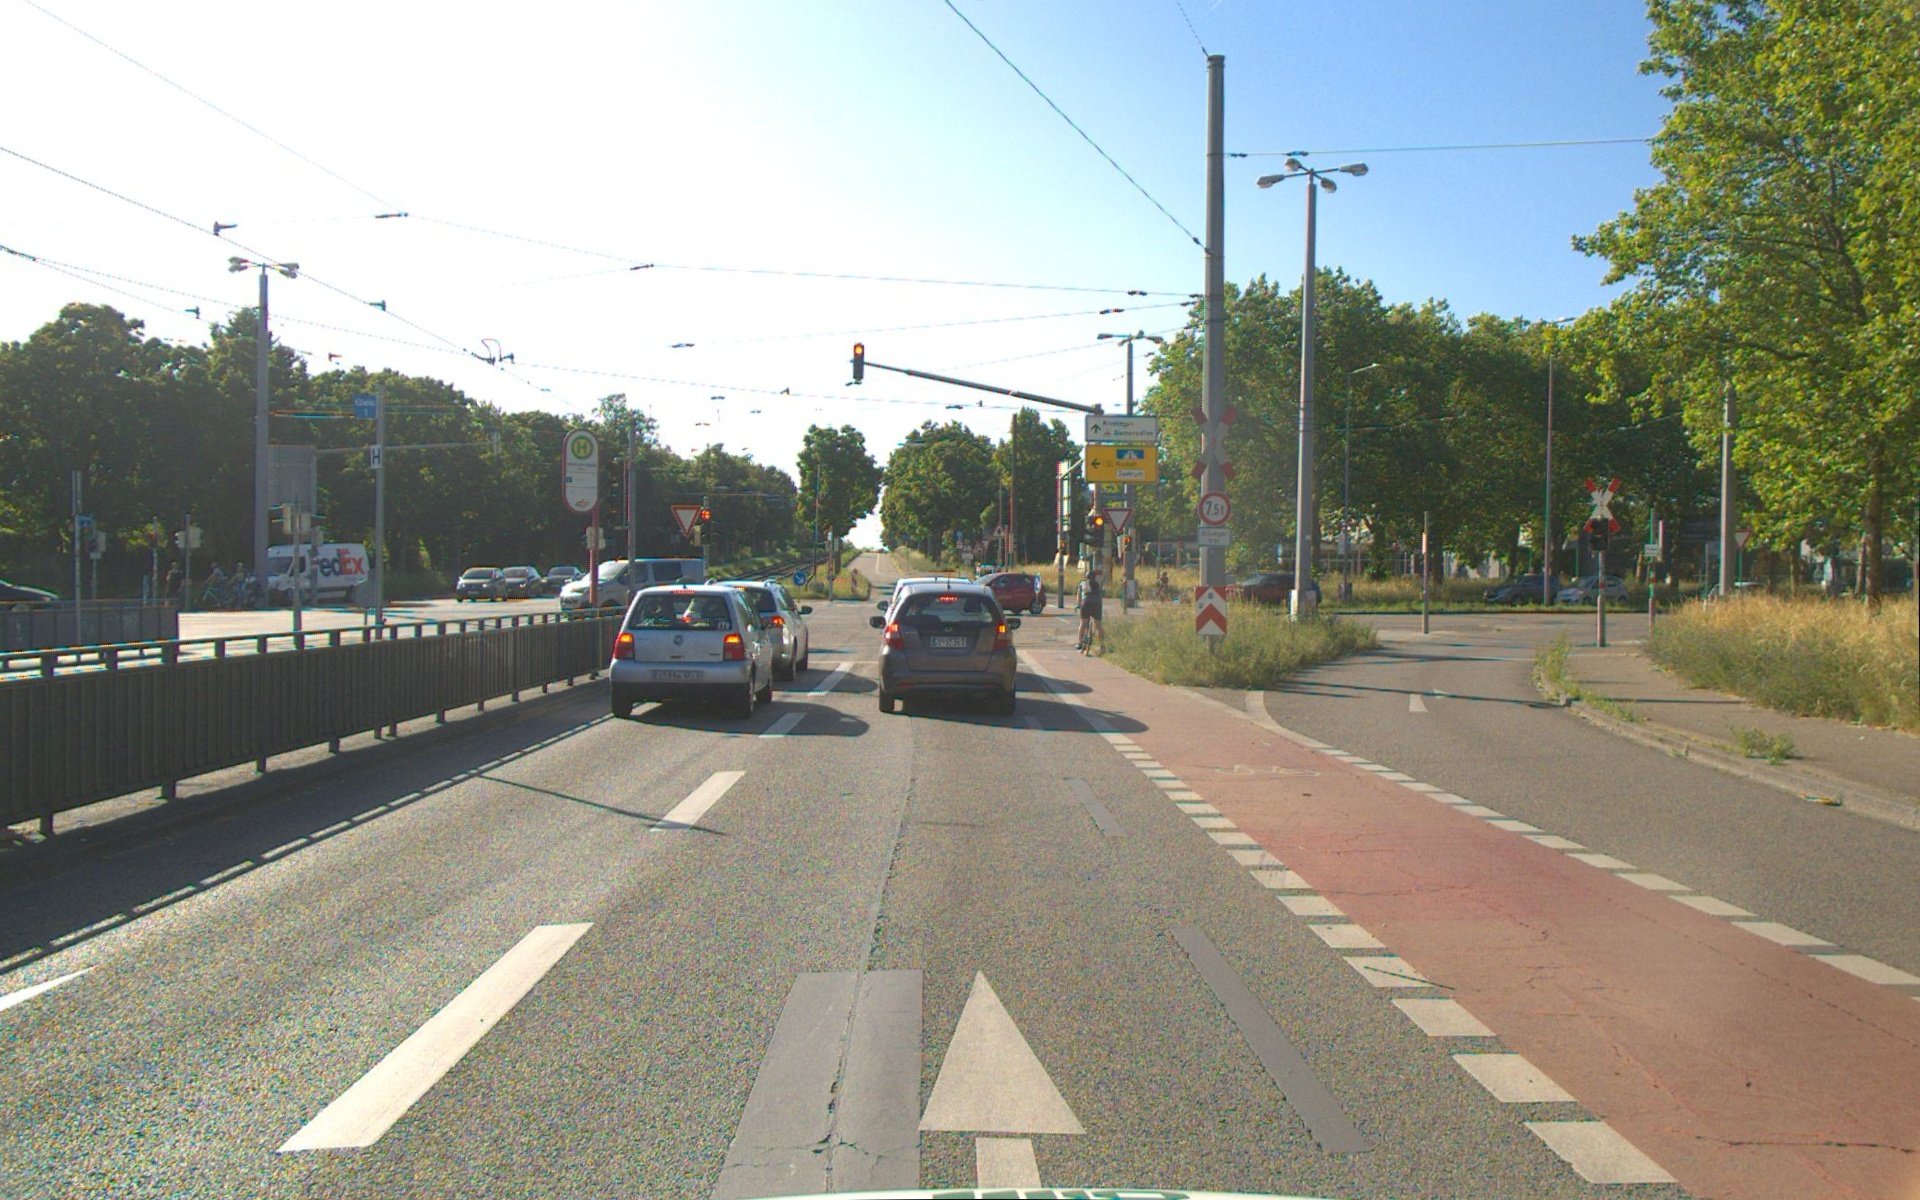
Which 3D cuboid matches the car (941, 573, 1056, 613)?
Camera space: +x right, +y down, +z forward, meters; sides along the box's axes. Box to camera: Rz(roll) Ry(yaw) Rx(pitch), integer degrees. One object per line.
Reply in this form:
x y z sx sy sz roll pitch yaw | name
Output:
1.402 -0.274 60.297 3.959 1.427 1.594 0 1 -29 | car

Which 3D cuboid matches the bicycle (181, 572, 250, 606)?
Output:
-28.831 -0.420 64.076 2.360 1.285 0.813 0 1 -19 | bicycle

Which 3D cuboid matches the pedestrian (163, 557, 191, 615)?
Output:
-27.914 -0.500 58.970 0.735 2.049 0.789 0 1 -13 | pedestrian

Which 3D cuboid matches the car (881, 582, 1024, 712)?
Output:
-0.171 0.523 20.823 1.635 1.487 3.584 1 1 -3 | car

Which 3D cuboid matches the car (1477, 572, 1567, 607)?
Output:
27.674 -0.507 81.428 3.930 1.606 1.868 2 0 -22 | car

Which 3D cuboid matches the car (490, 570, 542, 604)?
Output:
-21.241 -0.622 79.223 1.797 1.575 4.278 0 1 -7 | car

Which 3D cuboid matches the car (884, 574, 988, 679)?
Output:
-0.400 0.381 27.457 1.578 1.589 4.287 0 1 -1 | car

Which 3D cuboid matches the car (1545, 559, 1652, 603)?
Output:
30.492 -0.912 78.983 4.822 2.049 1.986 0 1 -24 | car

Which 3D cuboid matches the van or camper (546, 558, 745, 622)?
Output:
-9.640 -0.329 51.064 5.939 1.860 1.969 -1 1 -43 | van or camper

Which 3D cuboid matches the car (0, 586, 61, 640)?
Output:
-25.658 0.334 43.345 3.621 1.402 1.514 0 1 -28 | car

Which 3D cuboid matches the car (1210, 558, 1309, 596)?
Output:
12.582 -0.991 69.515 3.934 1.557 1.594 -1 1 -24 | car

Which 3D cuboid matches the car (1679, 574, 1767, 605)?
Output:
40.119 -0.576 86.948 4.449 1.601 1.681 0 1 -23 | car

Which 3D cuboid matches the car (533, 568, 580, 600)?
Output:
-21.628 -0.891 88.730 1.956 1.632 4.747 1 1 -8 | car

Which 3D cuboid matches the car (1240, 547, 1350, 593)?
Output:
15.201 -1.363 75.056 4.625 1.912 1.986 2 0 -24 | car

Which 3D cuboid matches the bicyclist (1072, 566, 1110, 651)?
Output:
2.744 0.176 34.654 0.652 1.746 0.948 2 0 -1 | bicyclist

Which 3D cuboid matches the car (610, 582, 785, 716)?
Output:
-3.012 0.525 19.565 1.586 1.442 3.350 0 0 -1 | car

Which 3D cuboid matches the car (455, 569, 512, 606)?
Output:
-21.098 -0.565 73.353 1.797 1.575 3.994 0 1 -7 | car

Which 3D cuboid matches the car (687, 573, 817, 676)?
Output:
-3.226 0.352 26.270 1.586 1.482 4.084 1 0 -1 | car

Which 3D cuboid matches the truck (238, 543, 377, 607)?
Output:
-28.002 -1.086 71.289 1.951 2.610 6.828 0 1 15 | truck

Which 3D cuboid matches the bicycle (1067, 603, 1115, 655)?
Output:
2.731 0.589 34.735 0.707 1.006 2.875 2 0 -1 | bicycle

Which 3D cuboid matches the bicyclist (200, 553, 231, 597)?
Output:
-28.823 -0.953 64.052 0.991 1.676 0.813 0 1 -19 | bicyclist
